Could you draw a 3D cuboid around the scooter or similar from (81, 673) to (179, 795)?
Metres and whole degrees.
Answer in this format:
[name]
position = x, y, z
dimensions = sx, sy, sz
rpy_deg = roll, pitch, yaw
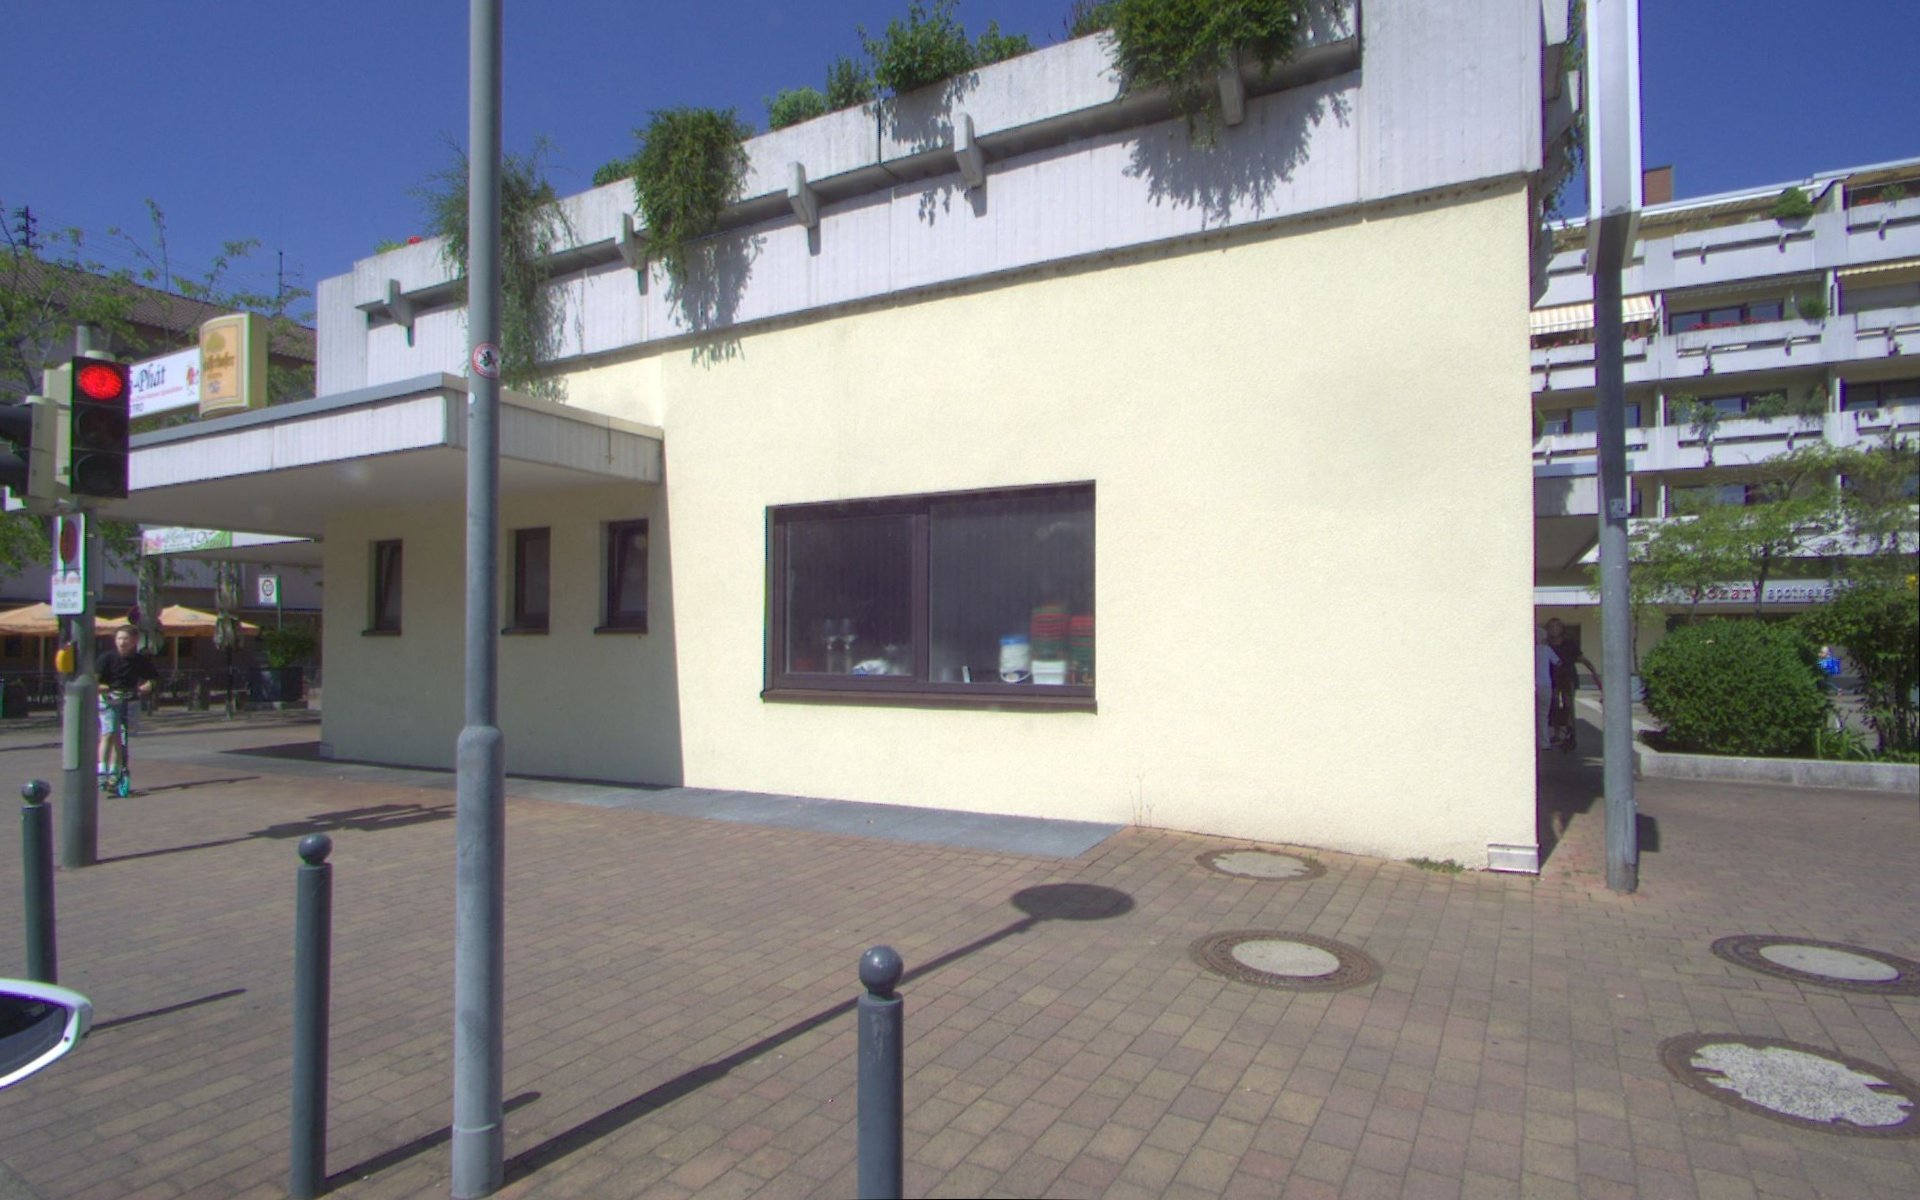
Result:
[scooter or similar]
position = -7.274, 1.146, 8.770
dimensions = 0.947, 0.977, 0.410
rpy_deg = -1, -2, 34

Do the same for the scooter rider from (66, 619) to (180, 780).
[scooter rider]
position = -7.396, 0.845, 8.839
dimensions = 1.117, 1.341, 0.460
rpy_deg = -1, -1, 33

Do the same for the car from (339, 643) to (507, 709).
[car]
position = -13.430, 1.881, 25.050
dimensions = 3.909, 1.528, 1.767
rpy_deg = -2, -3, 26

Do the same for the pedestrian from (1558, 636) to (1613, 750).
[pedestrian]
position = 8.460, 1.228, 13.554
dimensions = 0.596, 1.482, 0.791
rpy_deg = -1, -2, 32
